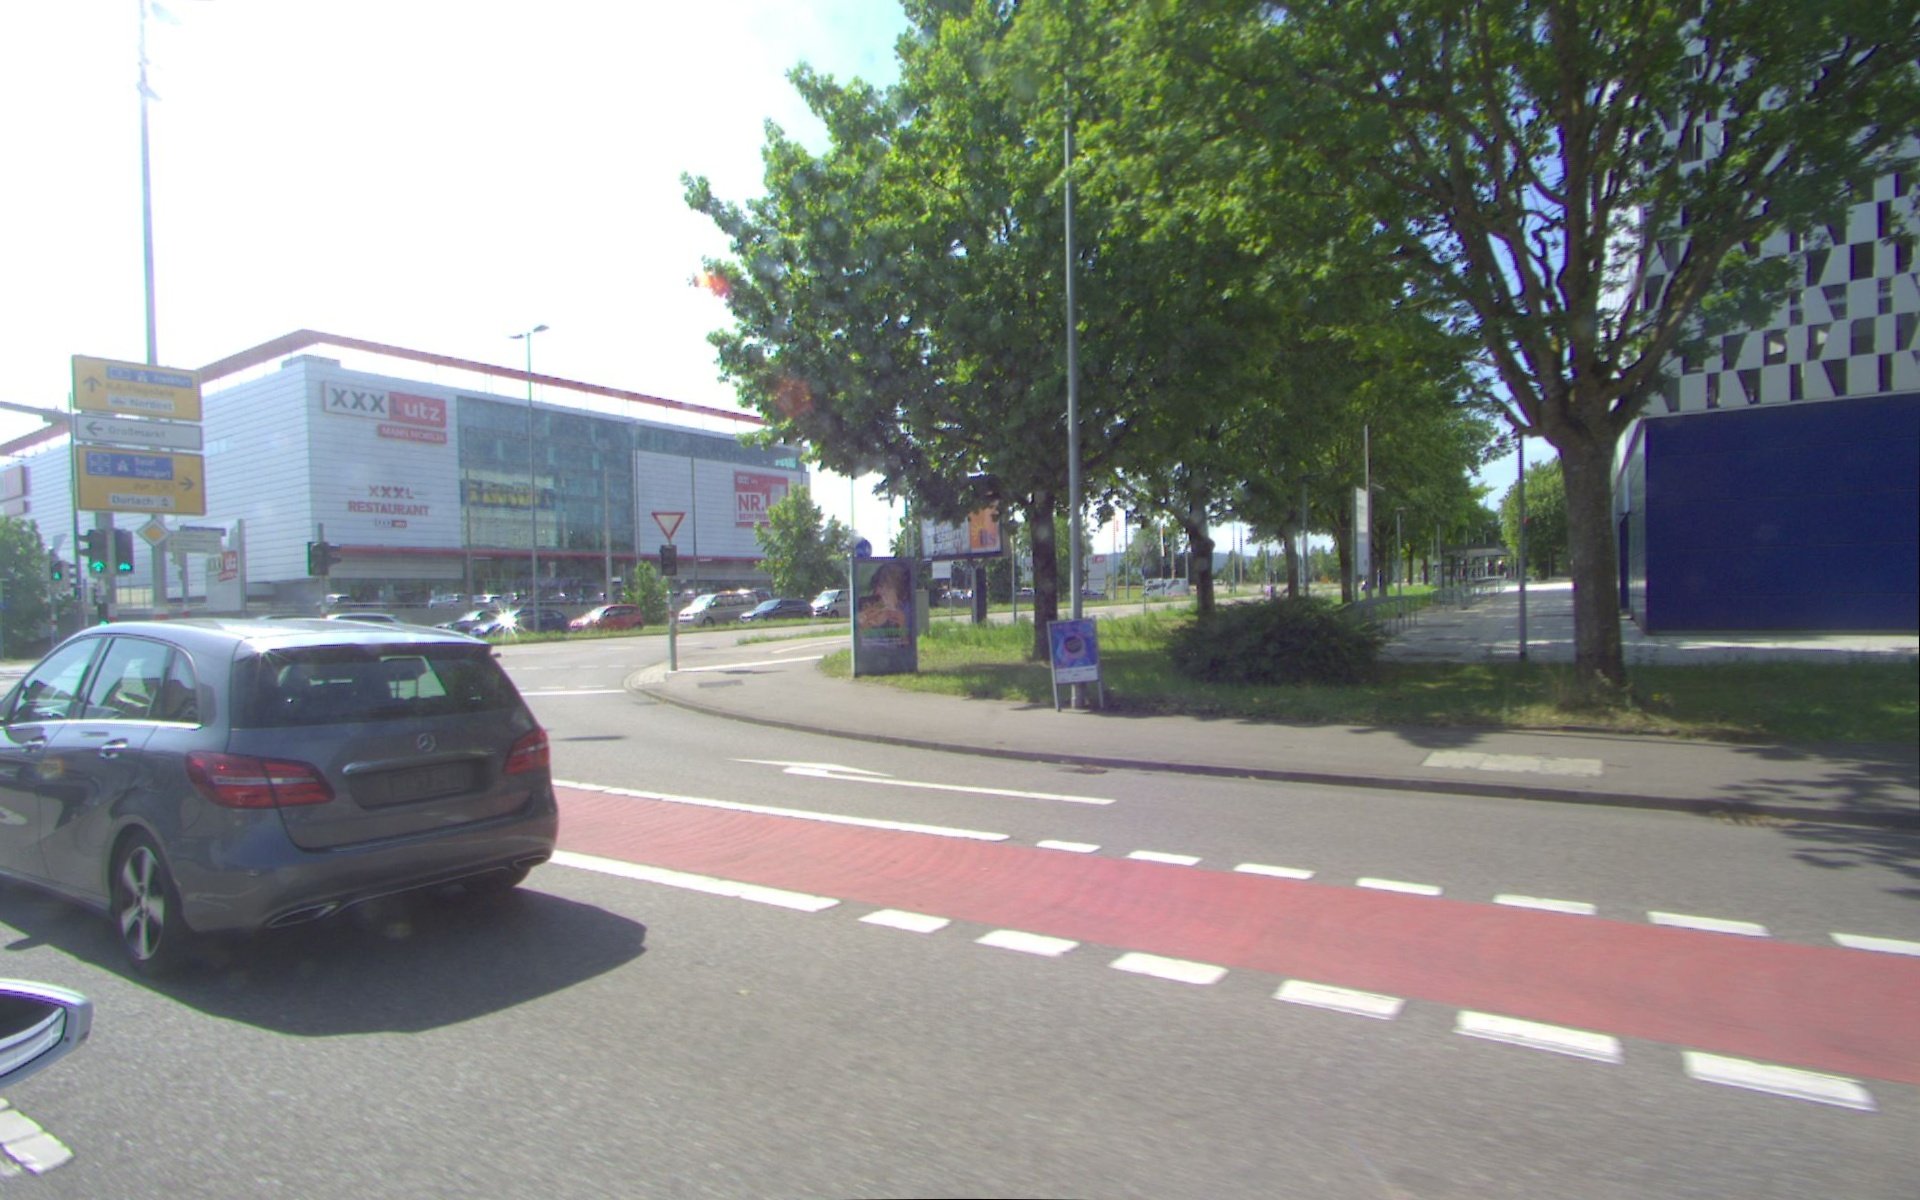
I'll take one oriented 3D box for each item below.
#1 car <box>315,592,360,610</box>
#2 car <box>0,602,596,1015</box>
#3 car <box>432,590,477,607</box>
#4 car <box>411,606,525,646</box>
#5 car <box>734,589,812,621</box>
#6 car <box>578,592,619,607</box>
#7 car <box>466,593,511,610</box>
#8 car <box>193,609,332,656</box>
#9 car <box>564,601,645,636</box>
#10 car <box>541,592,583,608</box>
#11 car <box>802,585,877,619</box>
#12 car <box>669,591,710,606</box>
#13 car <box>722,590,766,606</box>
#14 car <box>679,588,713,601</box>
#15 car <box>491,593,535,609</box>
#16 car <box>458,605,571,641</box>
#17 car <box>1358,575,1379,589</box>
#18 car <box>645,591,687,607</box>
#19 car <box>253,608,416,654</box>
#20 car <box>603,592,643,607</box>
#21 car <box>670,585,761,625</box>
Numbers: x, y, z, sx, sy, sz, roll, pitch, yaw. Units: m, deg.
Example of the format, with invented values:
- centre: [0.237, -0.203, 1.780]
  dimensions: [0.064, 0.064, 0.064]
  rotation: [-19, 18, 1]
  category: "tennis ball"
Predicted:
- centre: [-52.931, 0.092, 85.118]
  dimensions: [4.144, 1.438, 1.765]
  rotation: [-1, 0, 35]
  category: "car"
- centre: [-4.115, 0.824, 5.616]
  dimensions: [4.077, 1.559, 1.771]
  rotation: [-1, -1, 32]
  category: "car"
- centre: [-44.634, -0.125, 88.442]
  dimensions: [3.951, 1.438, 1.795]
  rotation: [-1, 0, 32]
  category: "car"
- centre: [-21.389, 1.118, 43.651]
  dimensions: [1.883, 1.528, 4.015]
  rotation: [-2, 0, 35]
  category: "car"
- centre: [-10.026, 0.275, 53.980]
  dimensions: [1.662, 1.641, 4.101]
  rotation: [-1, 0, 37]
  category: "car"
- centre: [-36.349, -0.010, 100.772]
  dimensions: [4.143, 1.438, 1.799]
  rotation: [-1, 0, 35]
  category: "car"
- centre: [-42.547, 0.181, 90.348]
  dimensions: [4.144, 1.438, 1.826]
  rotation: [-1, 0, 35]
  category: "car"
- centre: [-26.059, 1.183, 37.515]
  dimensions: [1.785, 1.579, 3.871]
  rotation: [-1, 0, 36]
  category: "car"
- centre: [-17.347, 0.877, 48.955]
  dimensions: [1.578, 1.596, 3.458]
  rotation: [-1, 0, 36]
  category: "car"
- centre: [-38.542, 0.005, 96.937]
  dimensions: [4.144, 1.438, 1.895]
  rotation: [-1, 0, 35]
  category: "car"
- centre: [-7.514, 0.103, 62.983]
  dimensions: [1.890, 1.961, 4.756]
  rotation: [-3, -1, 37]
  category: "car"
- centre: [-26.274, -0.135, 97.267]
  dimensions: [3.956, 1.438, 1.734]
  rotation: [-1, 0, 35]
  category: "car"
- centre: [-20.849, -0.217, 96.745]
  dimensions: [4.051, 1.438, 1.784]
  rotation: [-1, 0, 33]
  category: "car"
- centre: [-31.112, -0.622, 117.996]
  dimensions: [4.144, 1.438, 1.679]
  rotation: [-1, 0, 35]
  category: "car"
- centre: [-41.524, 0.101, 93.021]
  dimensions: [4.144, 1.438, 1.866]
  rotation: [-1, 0, 35]
  category: "car"
- centre: [-18.730, 0.955, 42.248]
  dimensions: [1.701, 1.359, 4.032]
  rotation: [-2, -1, 35]
  category: "car"
- centre: [49.556, -2.150, 121.512]
  dimensions: [1.619, 1.555, 3.893]
  rotation: [-1, 0, 34]
  category: "car"
- centre: [-28.022, -0.072, 95.411]
  dimensions: [4.054, 1.438, 1.679]
  rotation: [-1, 0, 35]
  category: "car"
- centre: [-22.908, 1.114, 36.866]
  dimensions: [1.933, 1.444, 4.701]
  rotation: [-2, 0, 35]
  category: "car"
- centre: [-34.524, -0.015, 102.601]
  dimensions: [4.144, 1.438, 1.730]
  rotation: [-1, 0, 35]
  category: "car"
- centre: [-13.301, 0.254, 54.789]
  dimensions: [1.937, 2.001, 4.658]
  rotation: [-3, -1, 36]
  category: "car"
